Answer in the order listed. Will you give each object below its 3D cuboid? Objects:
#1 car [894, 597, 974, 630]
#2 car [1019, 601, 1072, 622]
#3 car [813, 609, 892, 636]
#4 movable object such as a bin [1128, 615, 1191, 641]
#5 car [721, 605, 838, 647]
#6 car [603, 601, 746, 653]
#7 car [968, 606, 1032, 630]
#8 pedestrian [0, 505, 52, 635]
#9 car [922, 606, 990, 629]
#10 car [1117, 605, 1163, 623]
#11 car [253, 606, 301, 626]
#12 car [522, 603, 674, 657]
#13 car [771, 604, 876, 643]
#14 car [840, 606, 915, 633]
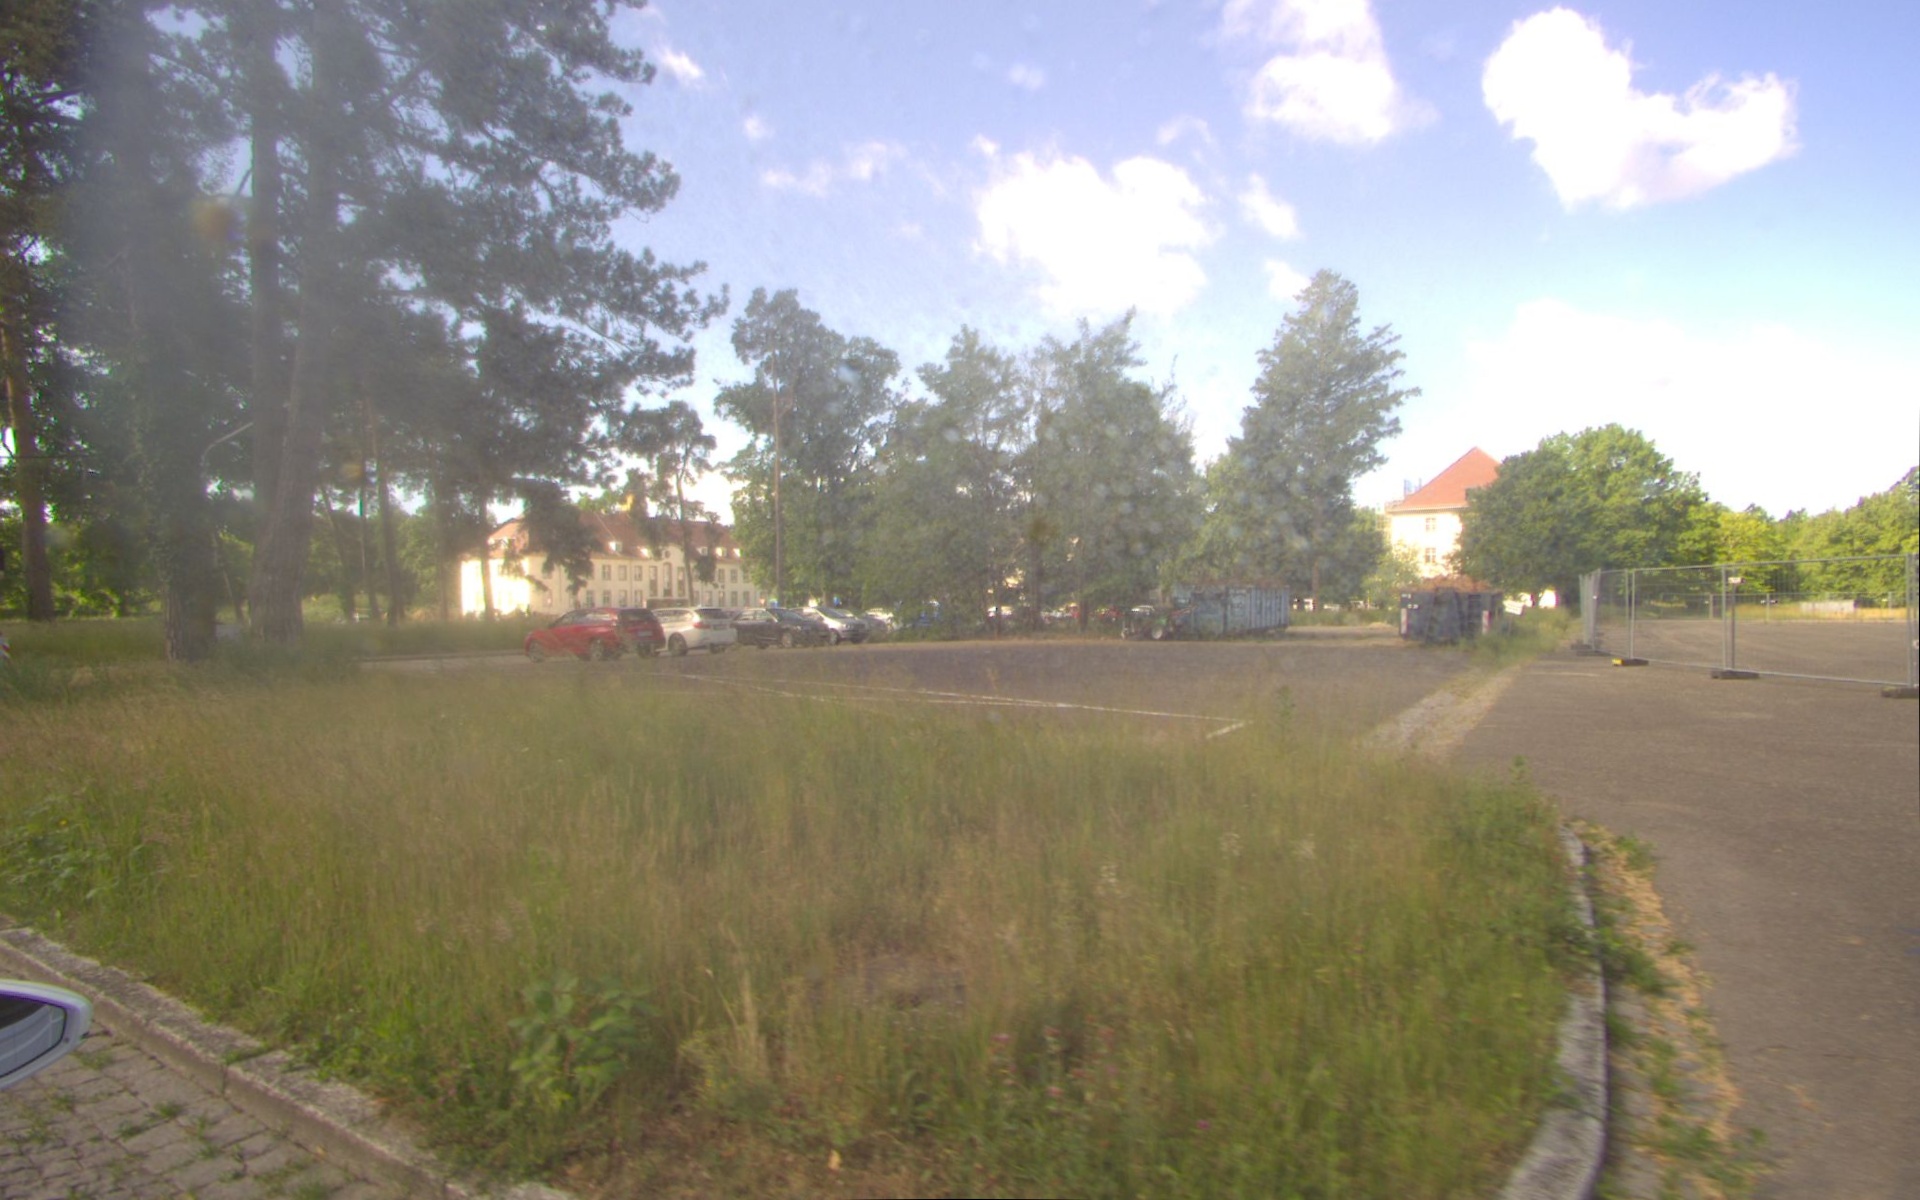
[{"bbox_3d":[-1.618,0.878,62.167,4.677,1.973,1.982,-1,-1,33],"label":"car"},{"bbox_3d":[6.391,0.895,75.166,3.640,1.568,1.705,-1,-1,33],"label":"car"},{"bbox_3d":[-5.947,1.249,55.142,4.181,1.443,1.720,-1,-1,33],"label":"car"},{"bbox_3d":[6.258,0.877,31.385,1.696,0.762,1.143,-1,0,26],"label":"movable object such as a bin"},{"bbox_3d":[-6.302,0.875,34.779,3.988,1.332,1.612,-1,1,33],"label":"car"},{"bbox_3d":[-8.654,0.833,30.258,4.180,1.396,1.776,-3,-1,31],"label":"car"},{"bbox_3d":[2.767,1.263,69.883,4.181,1.568,1.720,-1,-1,33],"label":"car"},{"bbox_3d":[-13.987,-0.412,14.361,1.154,1.820,1.057,-1,1,-28],"label":"pedestrian"},{"bbox_3d":[-0.266,1.158,64.470,4.181,1.443,1.720,-1,-1,33],"label":"car"},{"bbox_3d":[16.231,1.254,90.259,3.682,1.568,1.705,-1,-1,33],"label":"car"},{"bbox_3d":[-56.547,1.296,82.854,4.103,1.603,1.823,0,0,33],"label":"car"},{"bbox_3d":[-10.074,0.851,27.757,4.266,1.417,1.744,-2,-2,33],"label":"car"},{"bbox_3d":[-5.122,0.865,37.481,3.740,1.390,1.719,-1,-1,34],"label":"car"},{"bbox_3d":[-4.812,1.121,57.987,4.181,1.487,1.720,-1,-1,33],"label":"car"}]
